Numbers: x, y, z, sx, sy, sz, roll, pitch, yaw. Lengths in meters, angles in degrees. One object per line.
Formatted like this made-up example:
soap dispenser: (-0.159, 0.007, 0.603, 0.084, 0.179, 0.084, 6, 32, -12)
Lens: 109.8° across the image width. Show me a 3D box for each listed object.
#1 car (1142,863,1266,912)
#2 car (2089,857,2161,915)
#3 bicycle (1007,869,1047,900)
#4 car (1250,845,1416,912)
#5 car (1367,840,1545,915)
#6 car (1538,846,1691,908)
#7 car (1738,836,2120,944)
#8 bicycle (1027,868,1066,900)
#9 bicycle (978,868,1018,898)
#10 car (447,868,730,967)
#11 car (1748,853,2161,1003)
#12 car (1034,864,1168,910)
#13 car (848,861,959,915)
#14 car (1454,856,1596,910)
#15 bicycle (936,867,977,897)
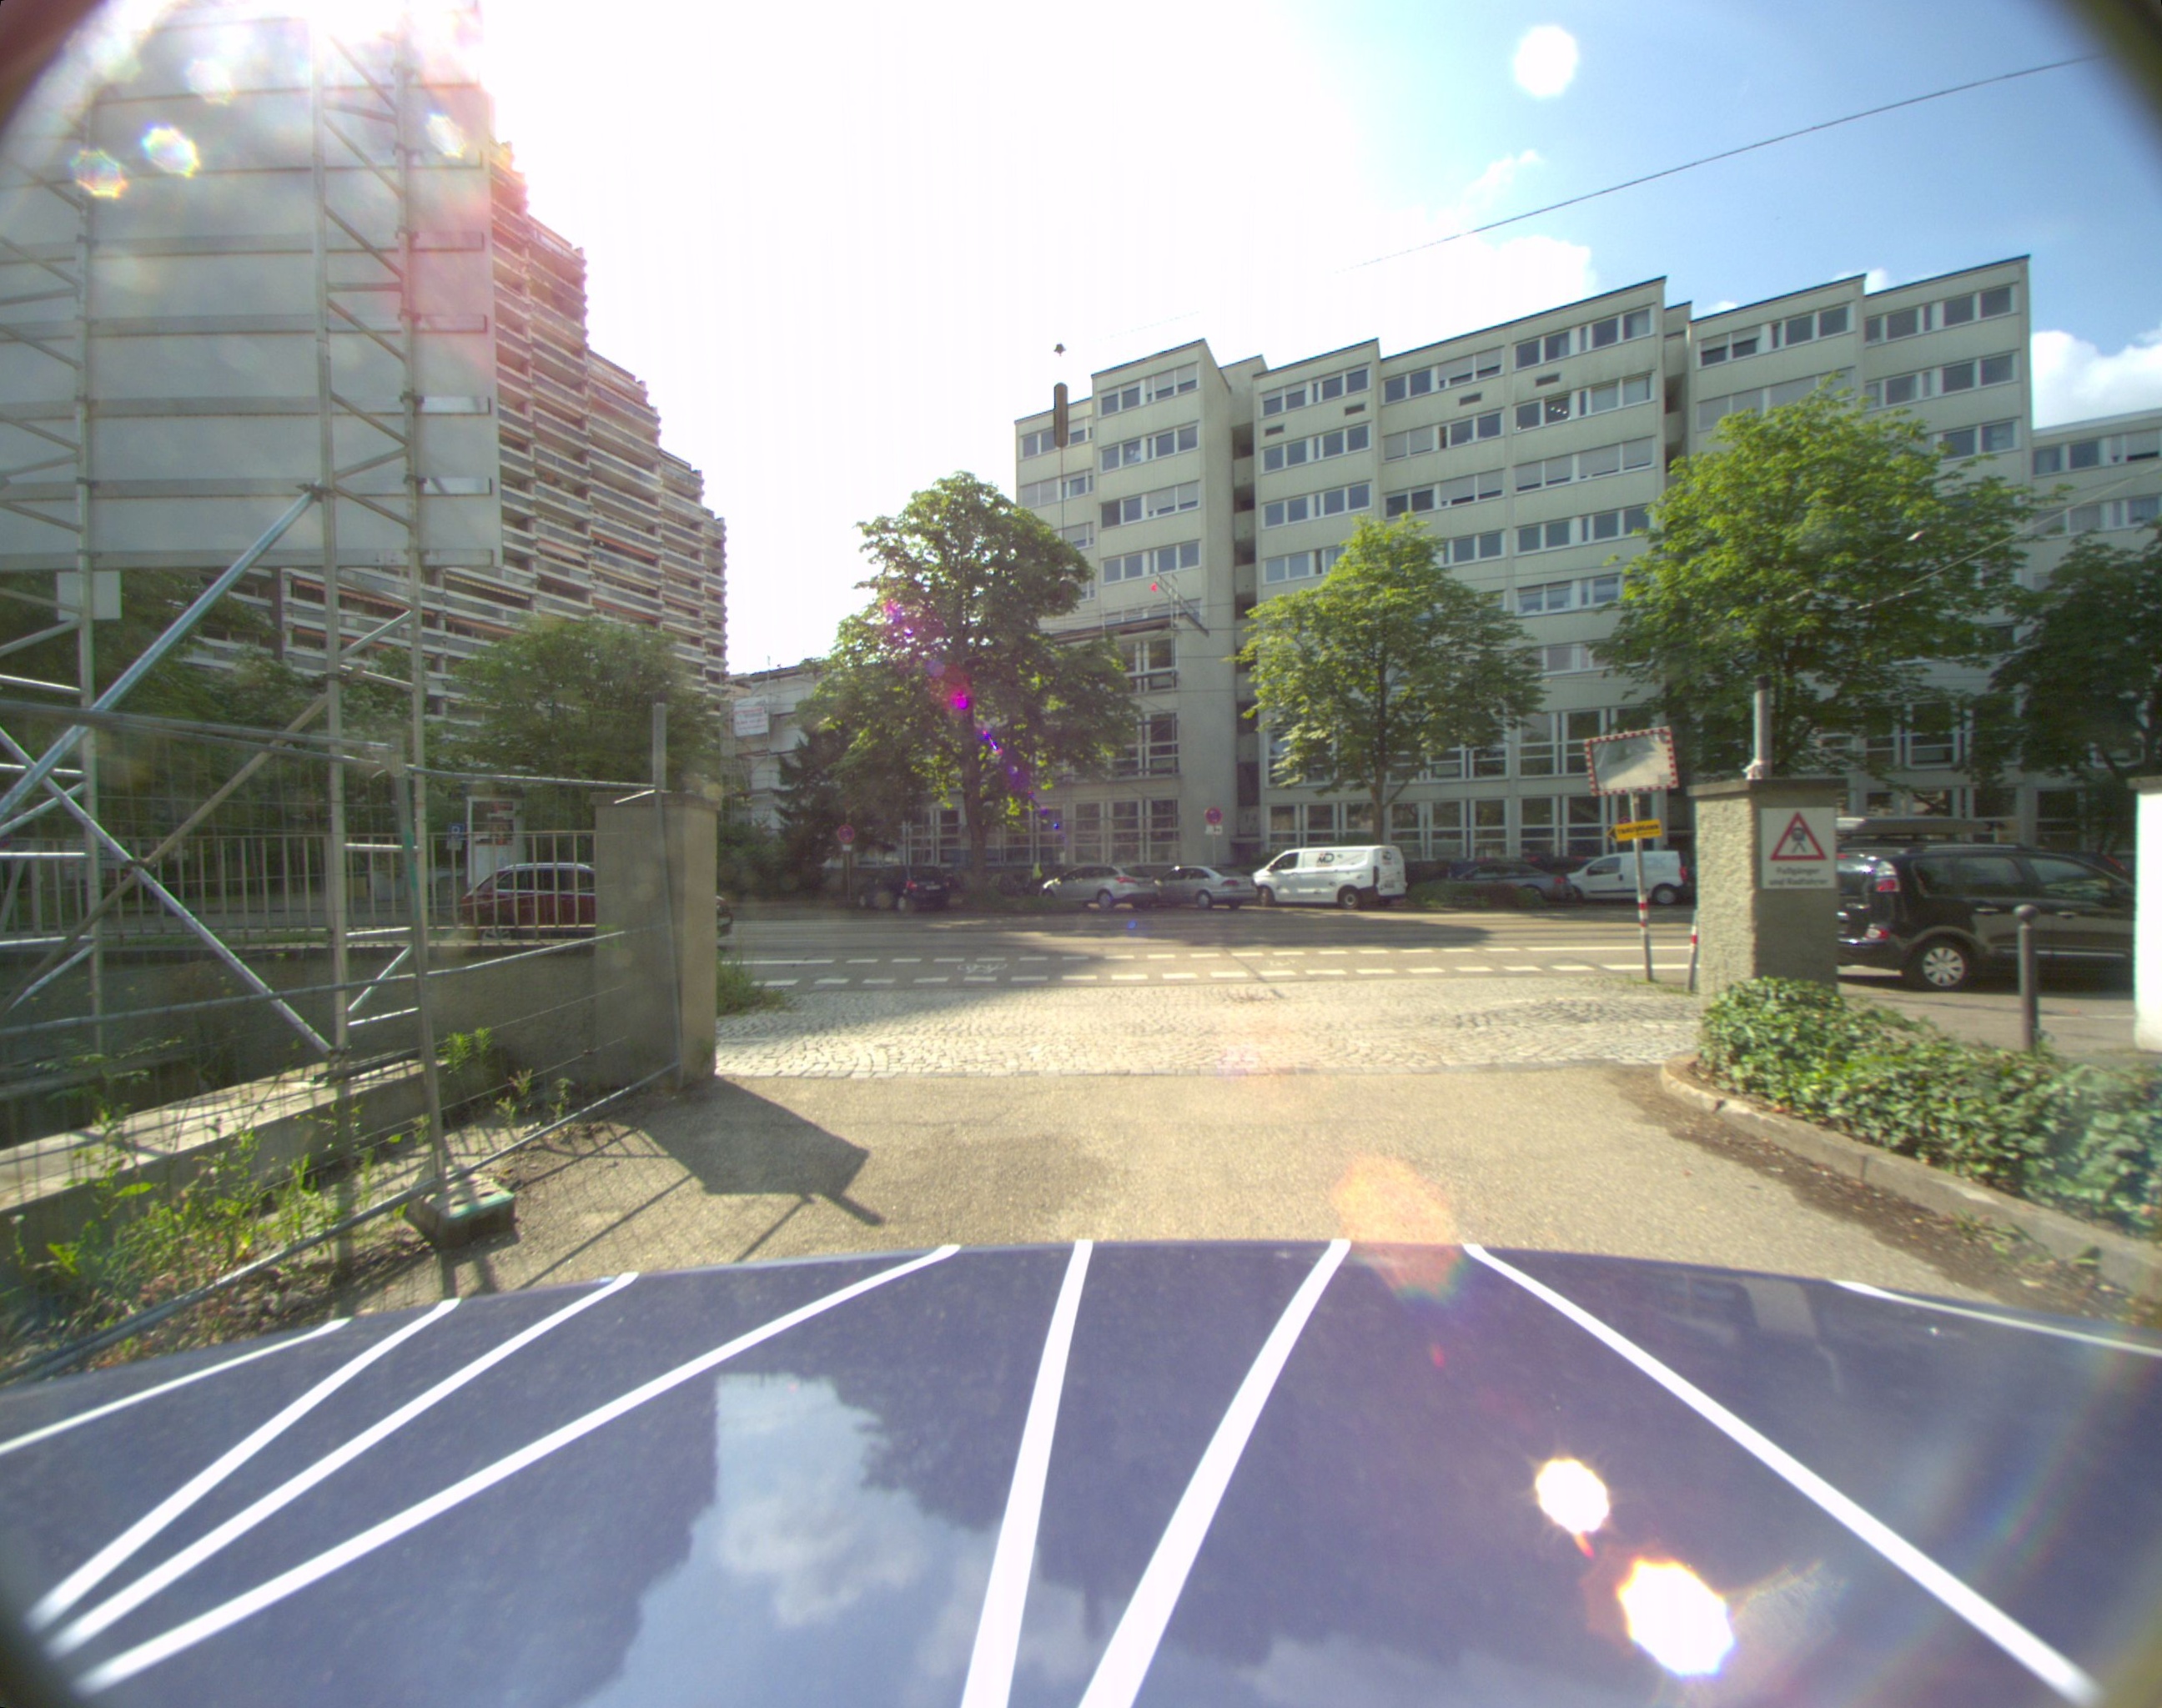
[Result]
car: (3.988, 1.058, 25.100, 1.729, 1.467, 3.773, -1, 0, -42)
car: (33.629, 1.000, 22.998, 1.585, 1.520, 3.643, -9, 7, -38)
bicycle: (-2.254, 1.273, 32.007, 0.496, 1.081, 2.059, -4, 3, 30)
car: (7.907, 0.731, 24.207, 1.937, 1.900, 4.629, 2, -1, -41)
car: (11.631, 0.650, 23.792, 1.906, 1.987, 4.560, -7, 5, -40)
car: (17.321, 0.760, 24.772, 3.749, 1.703, 1.886, -3, 3, 45)
car: (15.324, 0.619, 13.949, 4.834, 1.763, 1.947, -1, 0, 0)
bicycle: (-1.419, 1.234, 31.646, 0.496, 1.081, 2.059, -4, 3, 30)
bicycle: (-3.573, 1.239, 32.865, 0.496, 1.081, 2.059, -4, 3, 30)
car: (-8.745, 1.097, 13.748, 3.968, 1.602, 1.679, 0, 1, -1)
car: (10.519, 0.815, 9.092, 3.581, 1.602, 1.679, 0, -1, 0)
car: (0.582, 1.116, 25.519, 4.450, 1.417, 1.744, -3, -3, 44)
car: (-5.941, 1.105, 25.162, 1.762, 1.454, 3.989, -7, 3, -42)
car: (14.313, 0.939, 24.586, 3.627, 1.492, 1.765, -3, 2, 43)
bicycle: (-5.471, 1.225, 33.642, 0.496, 1.081, 2.059, -4, 3, 30)
